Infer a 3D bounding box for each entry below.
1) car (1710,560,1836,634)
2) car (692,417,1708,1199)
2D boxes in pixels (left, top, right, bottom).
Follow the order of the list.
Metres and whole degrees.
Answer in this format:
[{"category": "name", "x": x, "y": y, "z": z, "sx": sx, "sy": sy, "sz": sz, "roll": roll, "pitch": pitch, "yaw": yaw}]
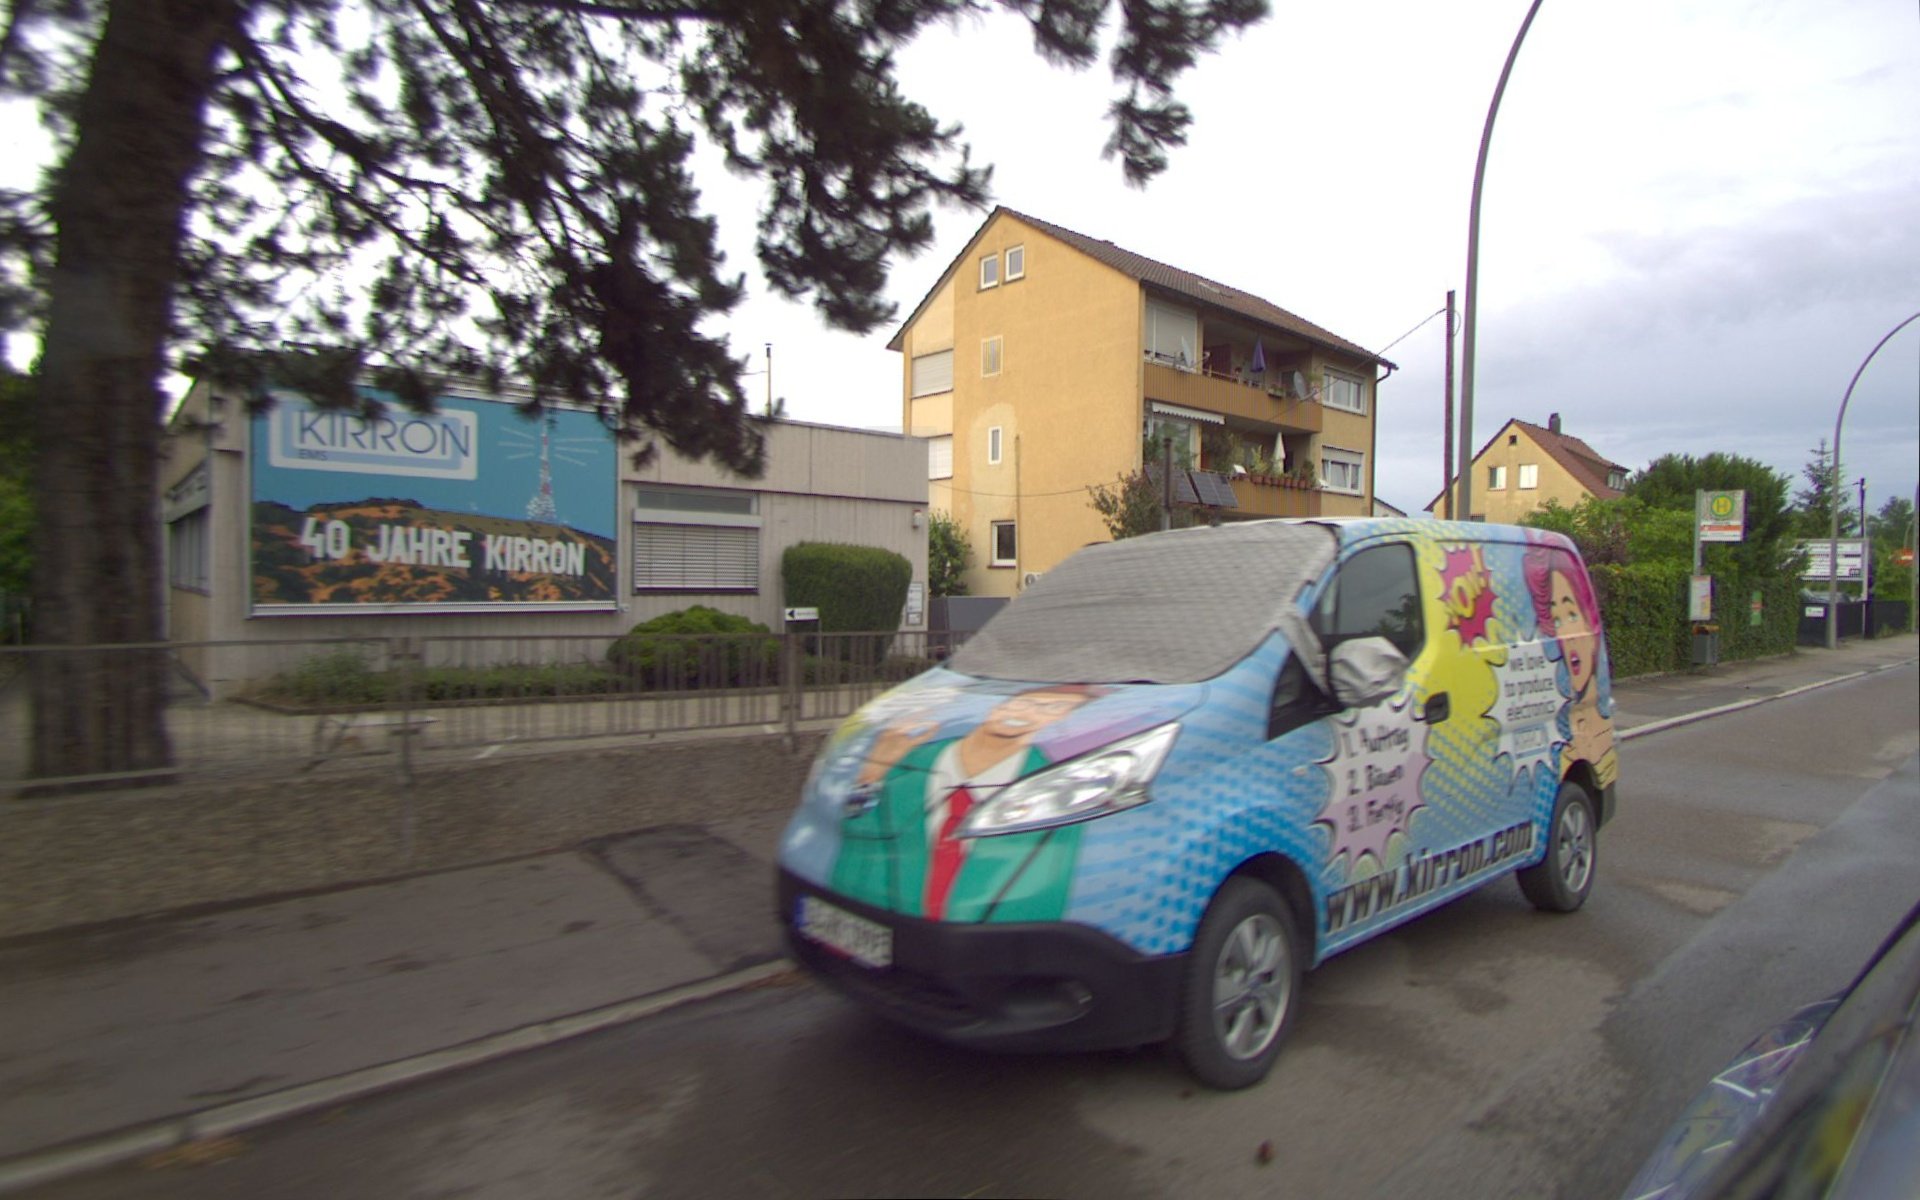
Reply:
[{"category": "car", "x": 30.561, "y": -0.107, "z": 38.107, "sx": 1.916, "sy": 2.645, "sz": 3.452, "roll": 0, "pitch": 0, "yaw": -42}, {"category": "car", "x": 1.660, "y": 0.493, "z": 4.792, "sx": 5.453, "sy": 1.851, "sz": 1.735, "roll": 0, "pitch": -1, "yaw": -40}]
